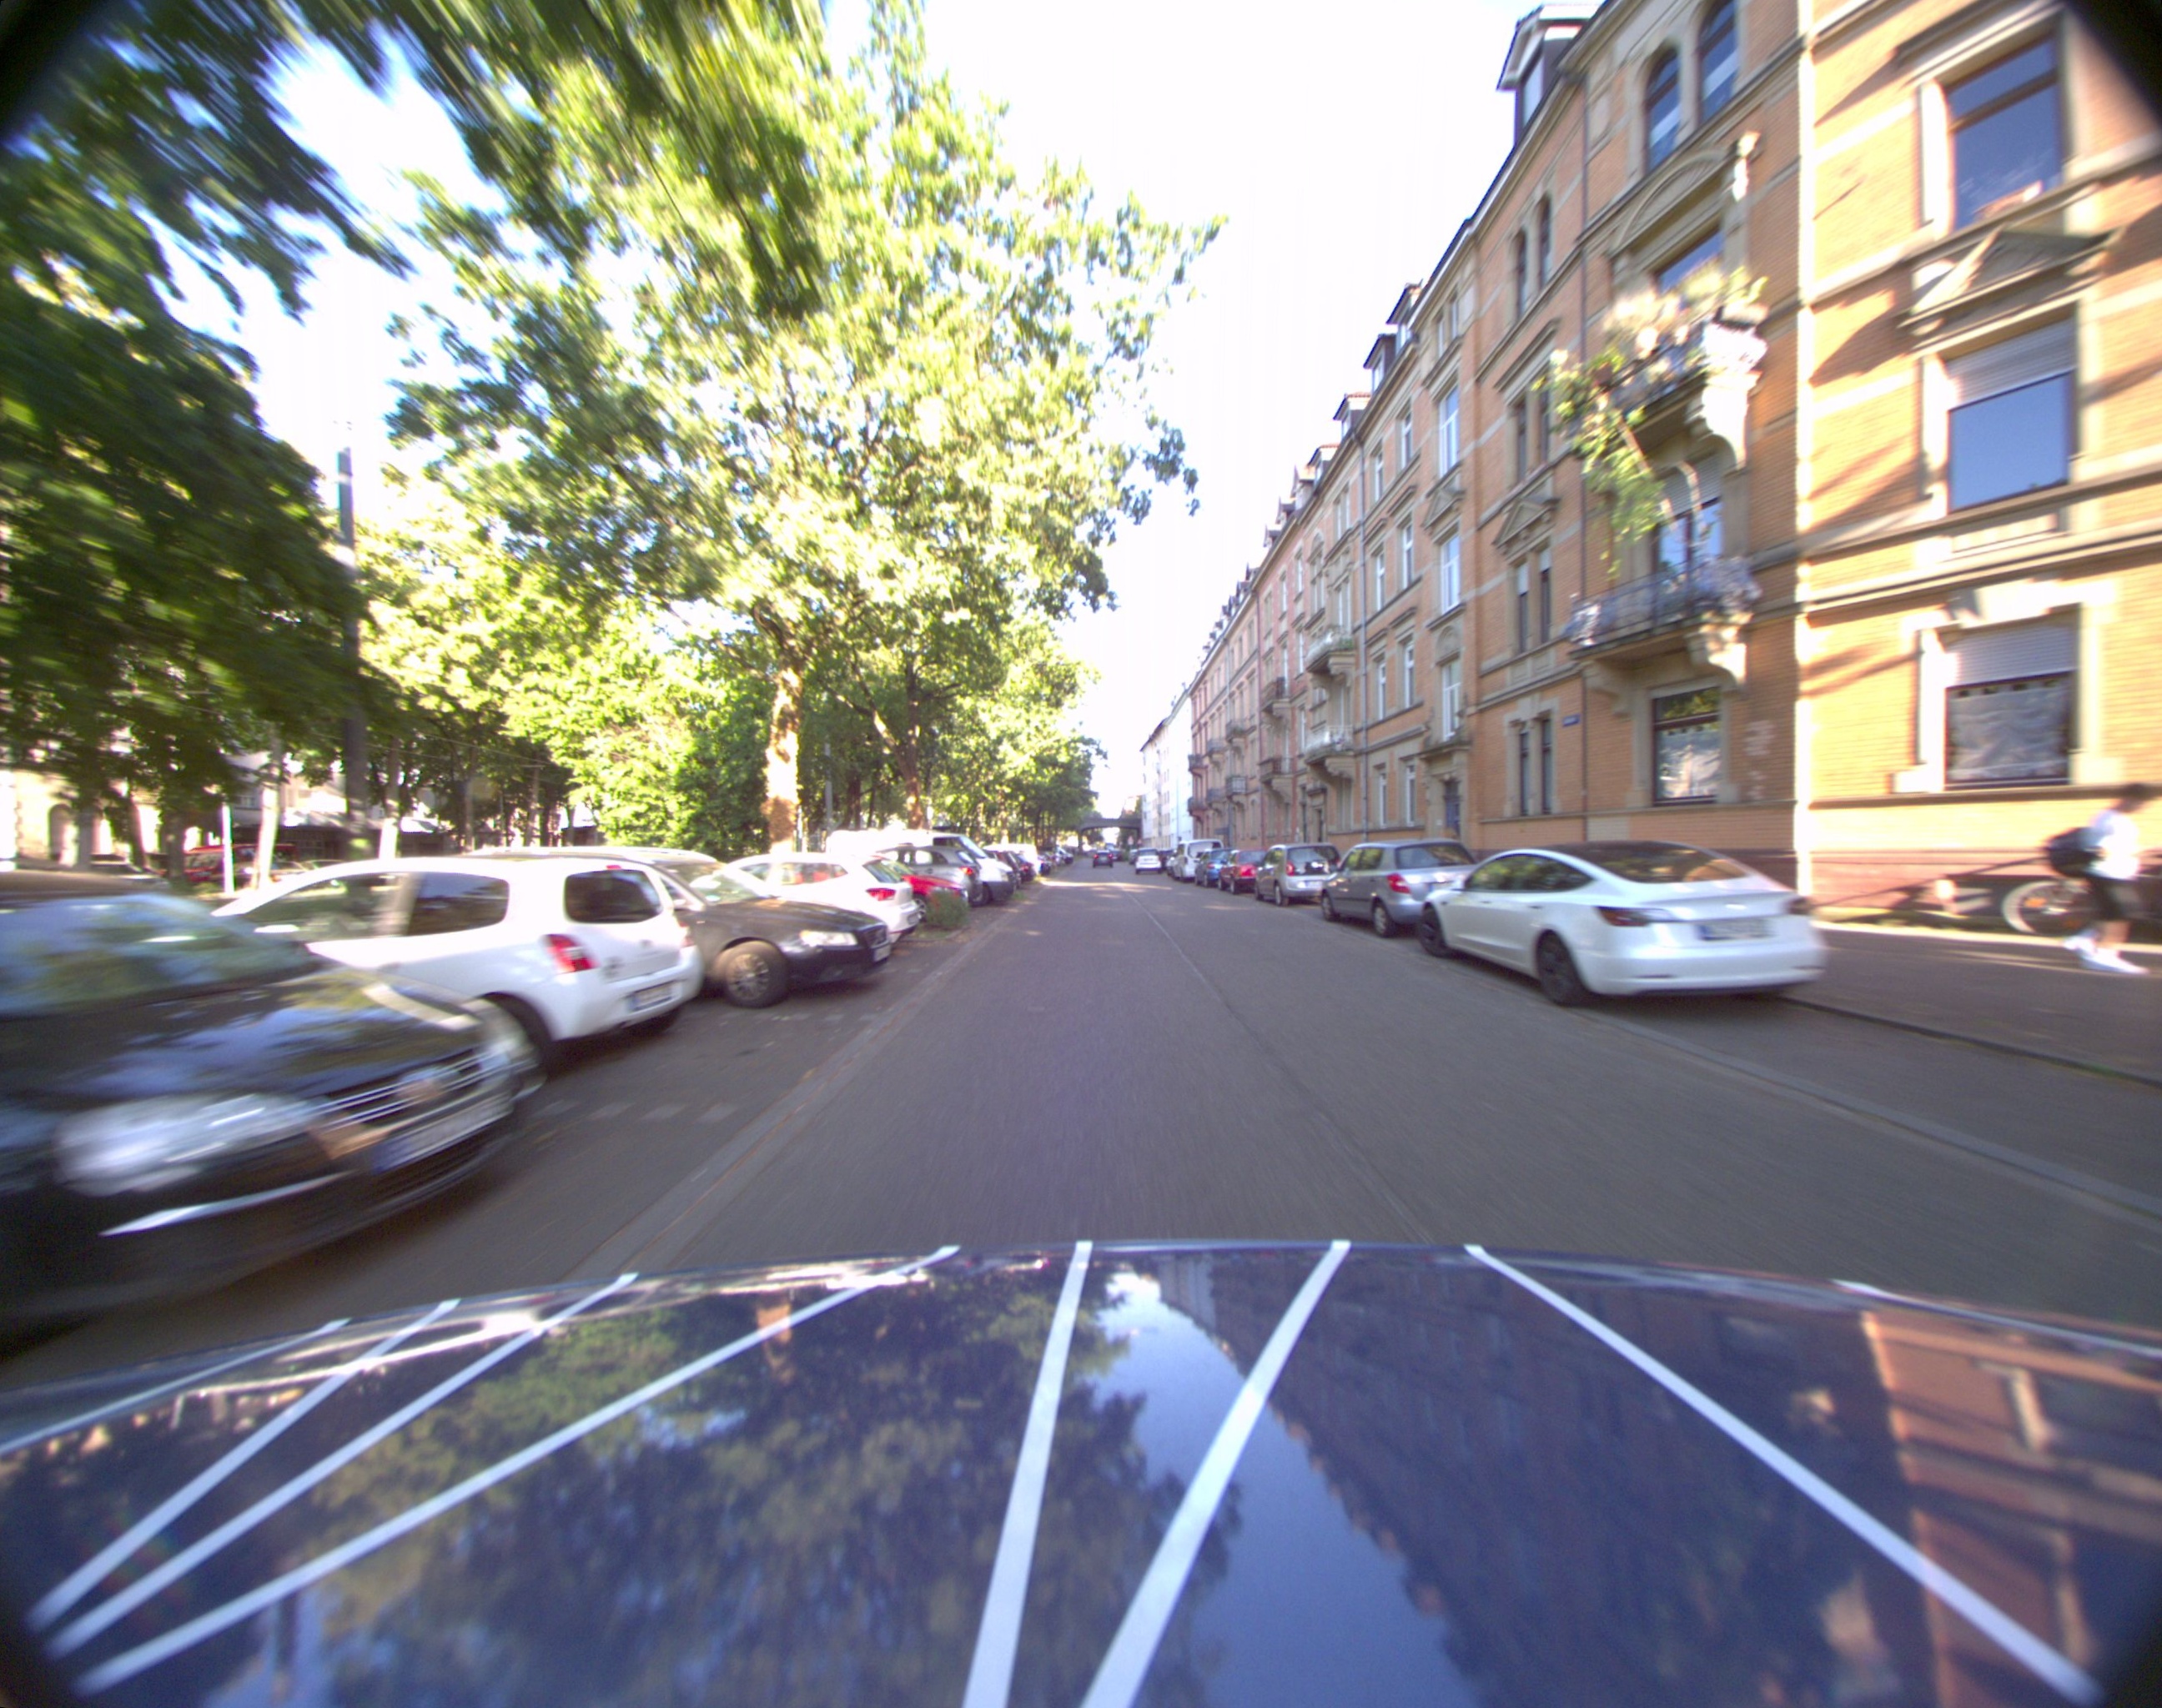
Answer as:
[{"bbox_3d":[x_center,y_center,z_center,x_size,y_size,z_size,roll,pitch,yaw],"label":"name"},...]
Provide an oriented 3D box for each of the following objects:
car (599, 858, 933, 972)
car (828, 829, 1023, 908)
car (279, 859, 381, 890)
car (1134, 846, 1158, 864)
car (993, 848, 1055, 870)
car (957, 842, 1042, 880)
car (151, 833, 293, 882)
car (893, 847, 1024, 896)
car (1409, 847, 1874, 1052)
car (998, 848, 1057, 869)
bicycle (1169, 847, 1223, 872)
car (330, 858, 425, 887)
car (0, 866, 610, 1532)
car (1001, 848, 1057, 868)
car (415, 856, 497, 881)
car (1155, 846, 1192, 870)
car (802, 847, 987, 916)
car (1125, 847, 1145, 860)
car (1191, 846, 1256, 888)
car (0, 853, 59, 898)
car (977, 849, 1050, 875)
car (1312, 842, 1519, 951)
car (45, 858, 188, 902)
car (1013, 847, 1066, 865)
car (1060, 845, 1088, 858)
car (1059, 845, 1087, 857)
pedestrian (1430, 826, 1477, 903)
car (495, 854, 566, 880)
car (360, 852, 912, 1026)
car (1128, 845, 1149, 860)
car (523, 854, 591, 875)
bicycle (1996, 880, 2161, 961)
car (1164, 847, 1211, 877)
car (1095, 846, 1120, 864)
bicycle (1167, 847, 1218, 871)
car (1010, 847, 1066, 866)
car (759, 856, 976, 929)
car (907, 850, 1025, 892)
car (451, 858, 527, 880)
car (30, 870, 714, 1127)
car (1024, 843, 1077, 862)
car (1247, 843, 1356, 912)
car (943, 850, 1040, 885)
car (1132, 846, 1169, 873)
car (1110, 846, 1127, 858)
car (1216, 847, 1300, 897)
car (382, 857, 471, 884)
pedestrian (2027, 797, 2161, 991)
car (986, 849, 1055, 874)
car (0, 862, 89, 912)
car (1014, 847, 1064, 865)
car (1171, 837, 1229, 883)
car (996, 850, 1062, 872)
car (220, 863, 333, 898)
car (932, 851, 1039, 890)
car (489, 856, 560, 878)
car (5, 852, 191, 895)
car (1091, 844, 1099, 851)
[{"bbox_3d":[-4.277,0.798,10.744,3.996,1.452,1.684,0,1,1],"label":"car"},{"bbox_3d":[-4.118,0.367,20.760,4.856,2.026,2.155,0,1,1],"label":"car"},{"bbox_3d":[-33.252,0.884,33.657,3.990,1.271,1.751,0,1,22],"label":"car"},{"bbox_3d":[5.904,0.057,69.398,1.880,1.560,4.392,-3,1,1],"label":"car"},{"bbox_3d":[-3.815,0.336,51.181,3.996,1.480,1.684,0,1,1],"label":"car"},{"bbox_3d":[-3.972,0.342,37.640,3.996,1.822,1.684,0,1,1],"label":"car"},{"bbox_3d":[-40.469,0.137,35.987,2.000,2.160,4.607,0,1,-10],"label":"car"},{"bbox_3d":[-3.981,0.559,25.127,3.996,1.545,1.684,0,1,1],"label":"car"},{"bbox_3d":[5.135,0.710,7.857,1.780,1.467,4.271,-3,1,3],"label":"car"},{"bbox_3d":[-3.691,0.306,53.143,3.996,1.480,1.684,0,1,1],"label":"car"},{"bbox_3d":[6.775,0.326,44.841,3.043,1.476,0.817,0,1,2],"label":"bicycle"},{"bbox_3d":[-33.651,0.872,36.348,3.990,1.271,1.751,0,1,22],"label":"car"},{"bbox_3d":[-4.822,0.892,2.973,4.711,1.563,2.000,-1,2,3],"label":"car"},{"bbox_3d":[-3.779,0.280,55.605,3.996,1.480,1.684,0,1,1],"label":"car"},{"bbox_3d":[-34.444,0.786,41.862,3.990,1.271,1.751,0,1,22],"label":"car"},{"bbox_3d":[6.048,0.228,49.937,1.880,1.433,4.392,-3,1,1],"label":"car"},{"bbox_3d":[-4.347,0.621,18.174,3.997,1.571,1.765,0,1,-1],"label":"car"},{"bbox_3d":[6.014,-0.078,85.190,1.880,1.433,4.392,-3,1,1],"label":"car"},{"bbox_3d":[5.420,0.454,29.296,1.767,1.430,3.888,-3,1,1],"label":"car"},{"bbox_3d":[-38.489,0.764,25.726,2.000,1.558,4.607,0,1,-10],"label":"car"},{"bbox_3d":[-3.789,0.436,43.093,3.996,1.480,1.684,0,1,1],"label":"car"},{"bbox_3d":[5.365,0.590,12.770,1.688,1.467,3.881,-3,1,-1],"label":"car"},{"bbox_3d":[-30.884,0.795,24.346,3.990,1.271,1.751,0,1,22],"label":"car"},{"bbox_3d":[-3.394,0.173,62.670,4.263,1.480,1.684,0,1,1],"label":"car"},{"bbox_3d":[-1.099,-0.402,119.685,4.389,1.676,1.882,-3,1,1],"label":"car"},{"bbox_3d":[-1.293,-0.420,121.954,4.389,1.676,1.882,-3,1,1],"label":"car"},{"bbox_3d":[8.579,0.235,17.527,0.675,1.708,0.722,-3,1,1],"label":"pedestrian"},{"bbox_3d":[-39.129,0.889,54.025,3.994,1.756,1.749,0,1,8],"label":"car"},{"bbox_3d":[-4.427,0.805,8.114,4.711,1.563,2.000,-1,2,3],"label":"car"},{"bbox_3d":[6.005,-0.135,79.370,1.880,1.433,4.392,-3,1,1],"label":"car"},{"bbox_3d":[-34.508,0.675,50.068,3.990,1.271,1.751,0,1,22],"label":"car"},{"bbox_3d":[11.827,0.745,8.565,0.526,0.843,1.894,-1,0,-34],"label":"bicycle"},{"bbox_3d":[5.629,0.364,40.669,1.880,1.433,4.392,-3,1,1],"label":"car"},{"bbox_3d":[2.274,0.072,65.648,1.881,1.422,4.392,-3,1,0],"label":"car"},{"bbox_3d":[6.815,0.302,46.590,3.043,1.476,0.817,0,1,2],"label":"bicycle"},{"bbox_3d":[-3.396,0.201,60.365,4.263,1.480,1.684,0,1,1],"label":"car"},{"bbox_3d":[-4.324,0.757,15.799,3.996,1.415,1.684,0,1,1],"label":"car"},{"bbox_3d":[-4.128,0.607,27.625,3.996,1.480,1.684,0,1,1],"label":"car"},{"bbox_3d":[-35.324,0.871,45.327,3.990,1.271,1.751,0,1,22],"label":"car"},{"bbox_3d":[-4.806,0.909,5.527,3.406,1.505,1.719,-1,1,3],"label":"car"},{"bbox_3d":[-2.979,-0.194,74.983,5.095,1.831,1.832,0,1,1],"label":"car"},{"bbox_3d":[5.381,0.514,18.983,1.688,1.467,3.709,-3,1,2],"label":"car"},{"bbox_3d":[-3.828,0.563,33.018,3.996,1.480,1.684,0,1,1],"label":"car"},{"bbox_3d":[4.229,0.291,46.974,1.880,1.527,4.392,-3,1,1],"label":"car"},{"bbox_3d":[4.652,-0.263,95.092,1.880,1.433,4.392,-3,1,1],"label":"car"},{"bbox_3d":[5.515,0.512,24.236,1.767,1.375,4.290,-3,1,2],"label":"car"},{"bbox_3d":[-33.318,0.836,38.676,3.990,1.271,1.751,0,1,22],"label":"car"},{"bbox_3d":[9.694,0.349,7.152,0.676,1.708,0.910,-4,2,-33],"label":"pedestrian"},{"bbox_3d":[-3.609,0.452,45.813,3.996,1.480,1.684,0,1,1],"label":"car"},{"bbox_3d":[-30.496,0.907,21.596,3.990,1.271,1.751,0,1,22],"label":"car"},{"bbox_3d":[-3.590,0.146,65.338,4.130,1.480,1.684,0,1,1],"label":"car"},{"bbox_3d":[5.391,0.229,34.926,1.912,1.872,4.725,-3,1,1],"label":"car"},{"bbox_3d":[-3.222,0.425,47.677,3.996,1.331,1.684,0,1,1],"label":"car"},{"bbox_3d":[-32.342,1.044,30.544,3.990,1.271,1.751,0,1,22],"label":"car"},{"bbox_3d":[-3.737,0.633,30.240,3.996,1.480,1.684,0,1,1],"label":"car"},{"bbox_3d":[-35.151,0.813,47.964,3.990,1.271,1.751,0,1,22],"label":"car"},{"bbox_3d":[-39.533,0.732,30.795,2.000,1.558,4.607,0,1,-10],"label":"car"},{"bbox_3d":[3.202,-1.486,176.187,1.880,1.433,4.392,-3,1,1],"label":"car"}]
